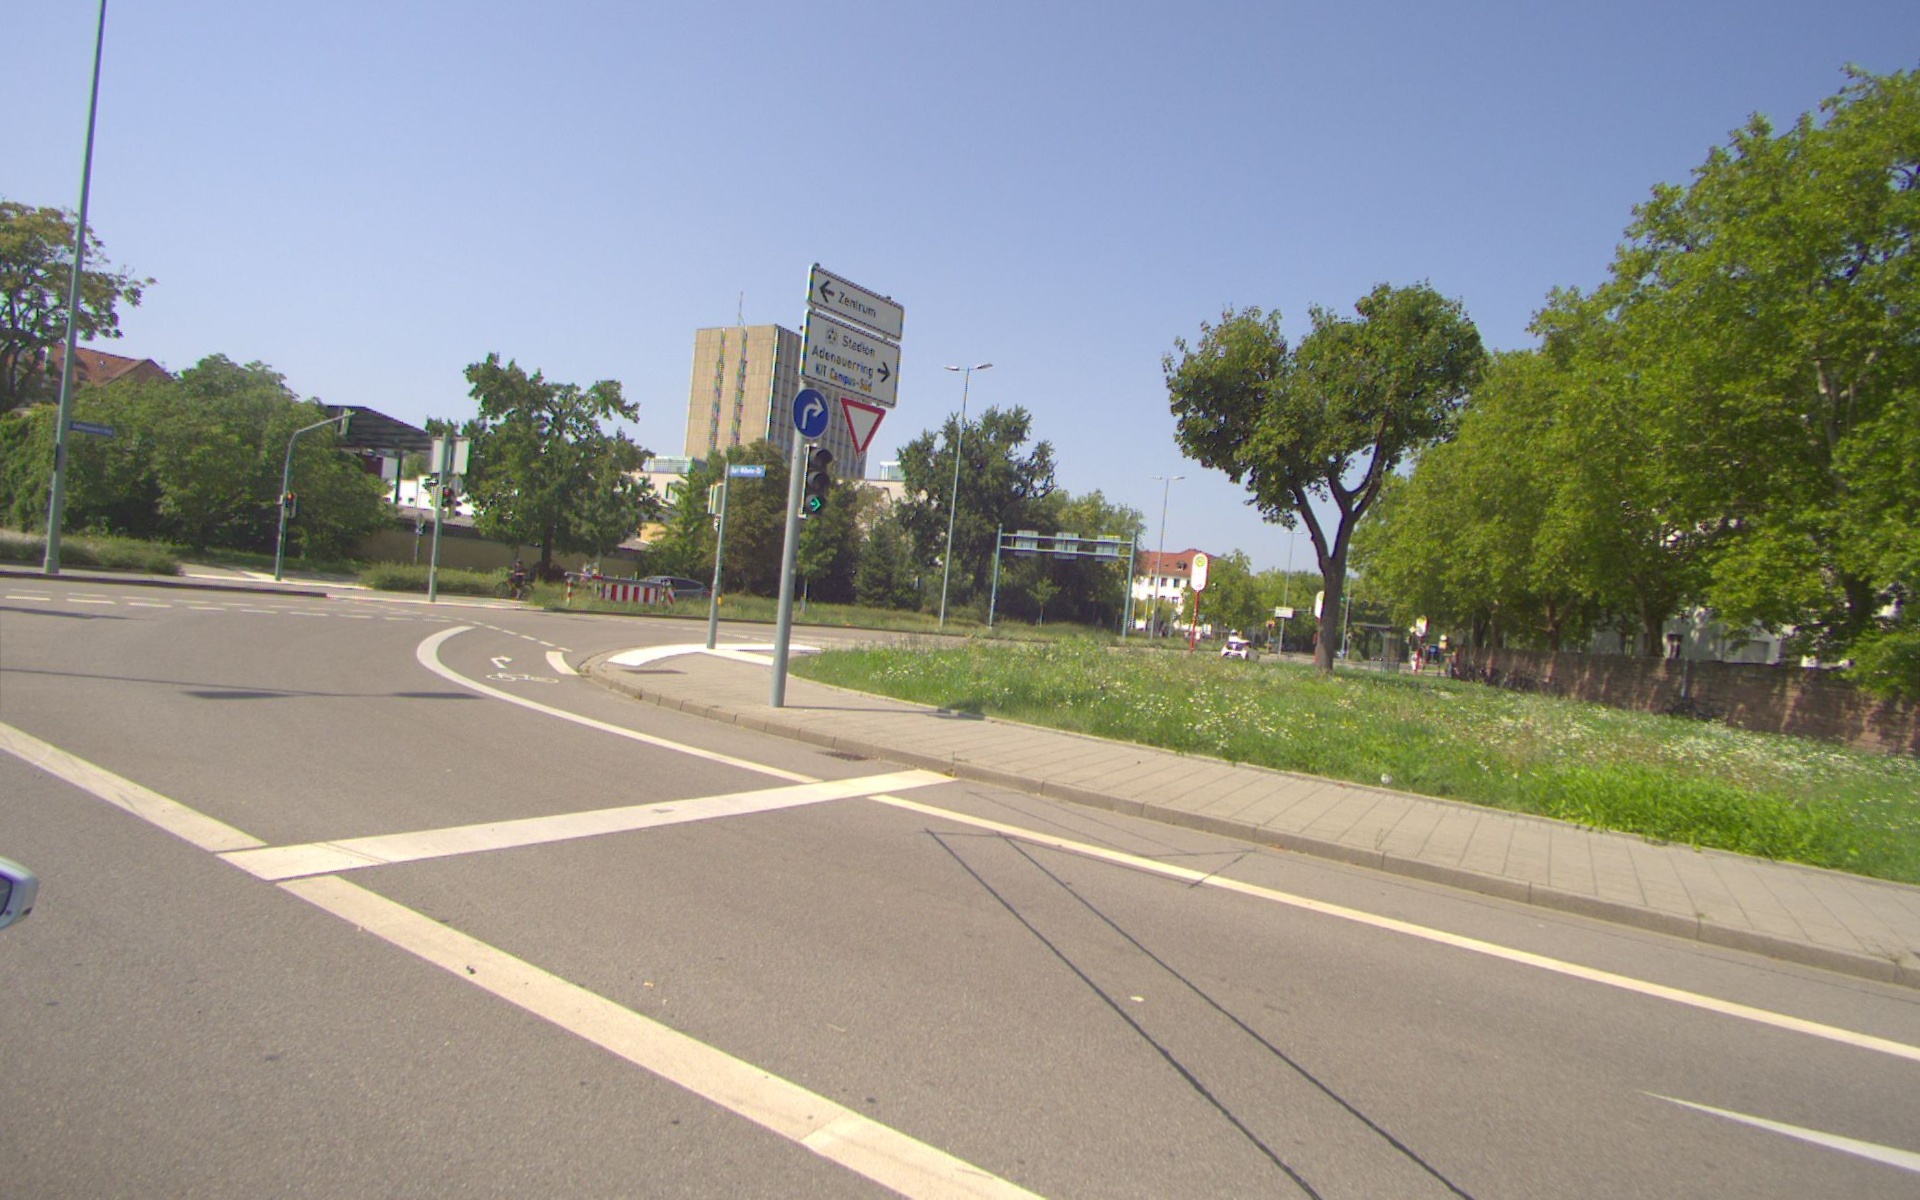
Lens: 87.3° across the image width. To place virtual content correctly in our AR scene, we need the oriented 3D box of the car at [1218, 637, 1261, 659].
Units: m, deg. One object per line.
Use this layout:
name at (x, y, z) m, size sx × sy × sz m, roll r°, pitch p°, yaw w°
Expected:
car at (17.731, 3.058, 63.802) m, size 1.566 × 1.151 × 3.253 m, roll 7°, pitch 1°, yaw 35°

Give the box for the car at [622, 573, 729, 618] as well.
car at (-10.491, -0.141, 37.216) m, size 1.764 × 1.374 × 3.413 m, roll 4°, pitch -1°, yaw 34°

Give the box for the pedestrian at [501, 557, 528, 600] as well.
pedestrian at (-18.283, -0.885, 41.275) m, size 0.768 × 1.690 × 0.547 m, roll 6°, pitch 1°, yaw 36°

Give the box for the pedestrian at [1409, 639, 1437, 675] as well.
pedestrian at (27.664, 3.393, 60.168) m, size 1.051 × 2.039 × 1.235 m, roll 6°, pitch 1°, yaw 12°

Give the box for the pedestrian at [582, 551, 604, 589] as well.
pedestrian at (-18.400, -1.491, 50.463) m, size 0.683 × 1.794 × 0.585 m, roll 6°, pitch 1°, yaw 36°

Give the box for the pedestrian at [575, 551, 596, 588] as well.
pedestrian at (-18.965, -1.538, 50.901) m, size 0.683 × 1.794 × 0.585 m, roll 6°, pitch 1°, yaw 36°

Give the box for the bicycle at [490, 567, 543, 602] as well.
bicycle at (-18.240, -0.638, 41.376) m, size 0.774 × 1.228 × 1.783 m, roll 6°, pitch 0°, yaw 35°
